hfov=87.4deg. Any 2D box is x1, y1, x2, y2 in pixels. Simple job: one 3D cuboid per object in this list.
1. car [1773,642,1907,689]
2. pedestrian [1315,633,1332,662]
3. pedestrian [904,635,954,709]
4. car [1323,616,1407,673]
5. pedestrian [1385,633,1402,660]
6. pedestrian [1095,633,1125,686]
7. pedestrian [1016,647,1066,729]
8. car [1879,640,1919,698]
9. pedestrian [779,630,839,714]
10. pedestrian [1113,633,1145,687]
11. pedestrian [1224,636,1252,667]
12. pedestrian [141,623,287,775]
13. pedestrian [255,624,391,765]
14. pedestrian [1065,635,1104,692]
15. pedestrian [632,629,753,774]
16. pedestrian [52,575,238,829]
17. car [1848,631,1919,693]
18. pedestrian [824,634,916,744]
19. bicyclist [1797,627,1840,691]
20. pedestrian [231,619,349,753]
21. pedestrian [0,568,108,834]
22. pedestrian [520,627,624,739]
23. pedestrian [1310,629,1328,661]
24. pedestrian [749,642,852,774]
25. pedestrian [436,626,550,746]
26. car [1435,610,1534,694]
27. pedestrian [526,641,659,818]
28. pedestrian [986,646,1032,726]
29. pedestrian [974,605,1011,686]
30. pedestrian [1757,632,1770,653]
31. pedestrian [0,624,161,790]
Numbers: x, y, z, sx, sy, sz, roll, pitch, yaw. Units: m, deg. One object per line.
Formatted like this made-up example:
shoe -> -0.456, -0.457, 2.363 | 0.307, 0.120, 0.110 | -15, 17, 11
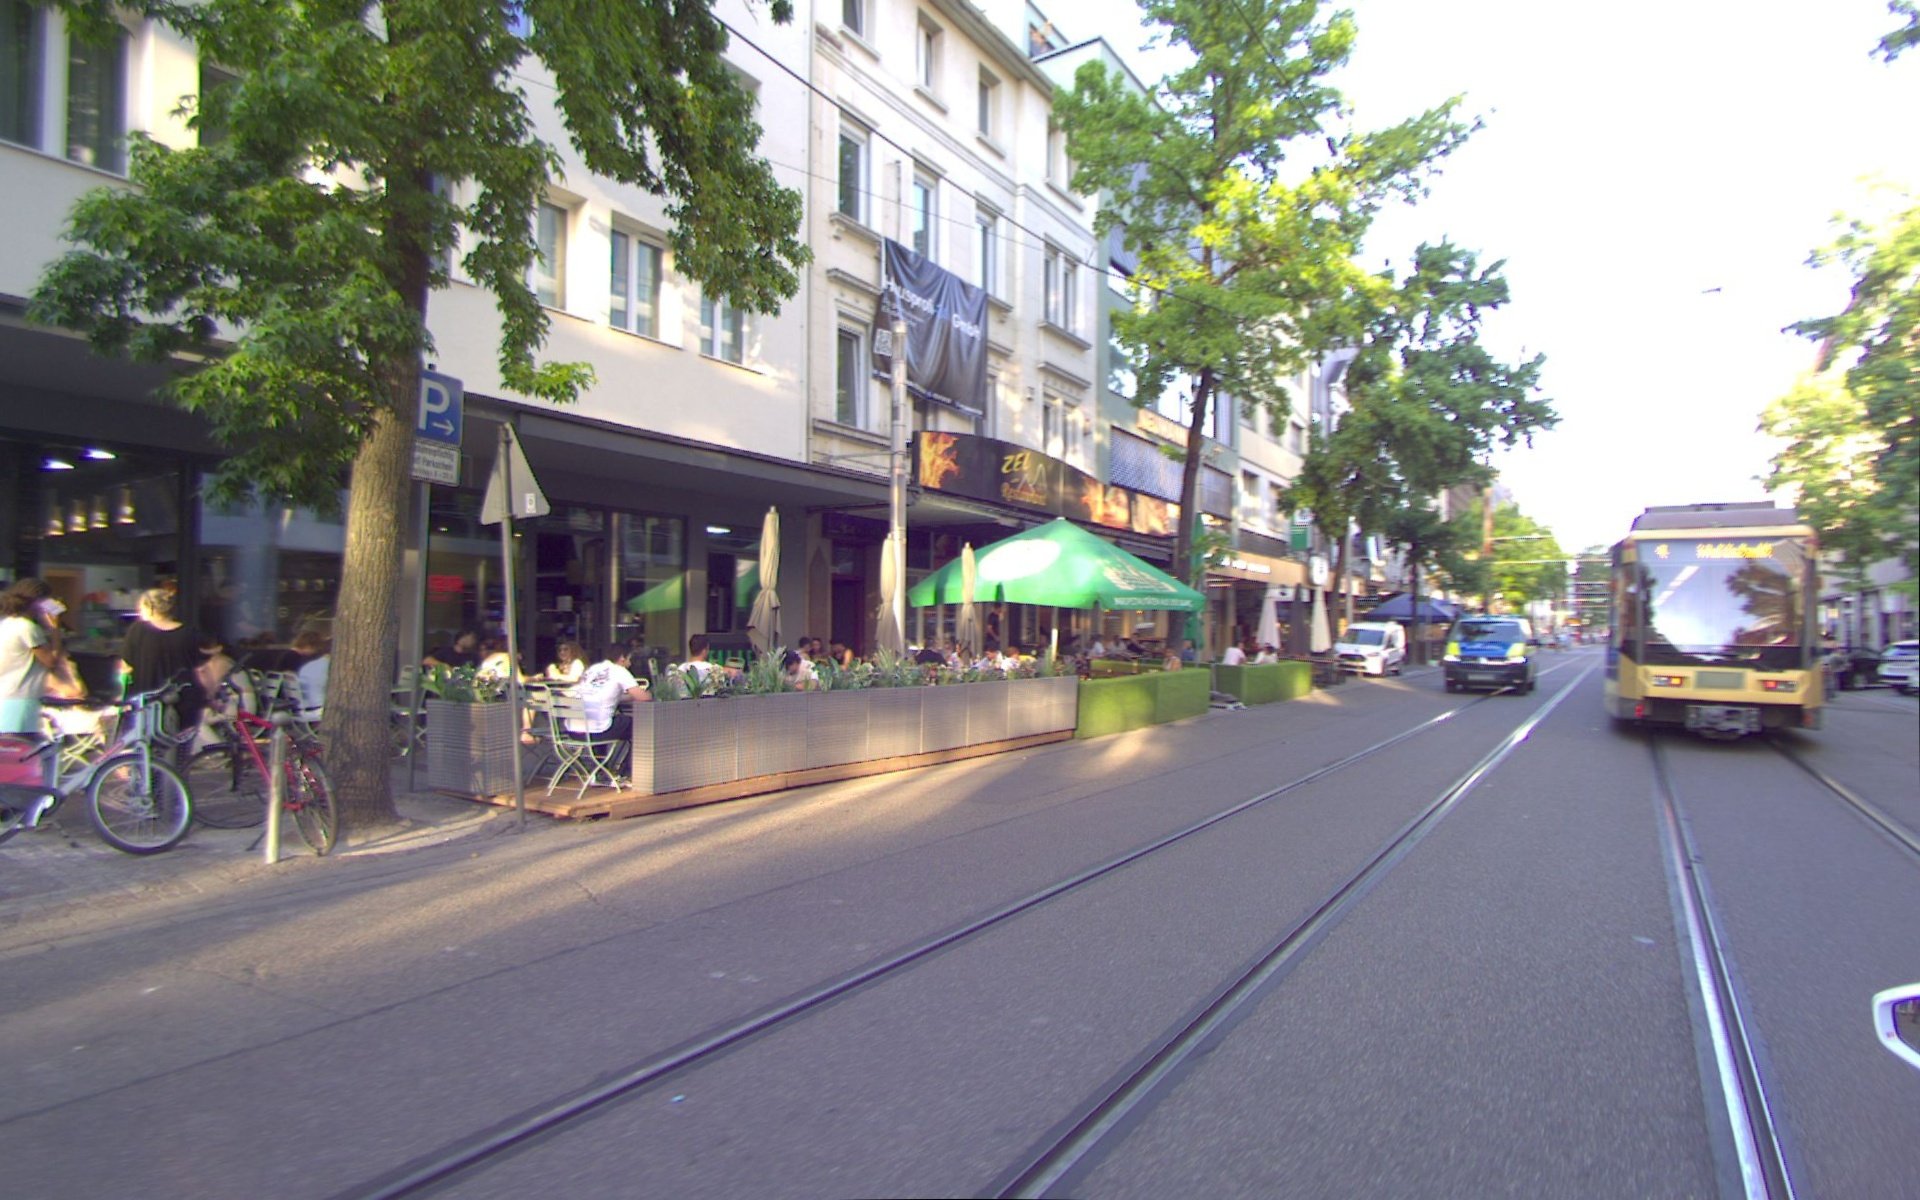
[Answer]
car -> 28.195, 2.059, 32.158 | 4.390, 1.366, 1.794 | 1, -2, -28
pedestrian -> 16.408, 2.153, 45.334 | 0.504, 1.258, 0.659 | 3, 0, 34
pedestrian -> -0.605, 1.407, 19.800 | 0.645, 1.396, 0.763 | 0, -2, 34
car -> 14.406, 1.587, 35.626 | 1.770, 1.842, 4.502 | 1, -2, 35
pedestrian -> 21.428, 2.288, 49.672 | 0.596, 1.273, 0.559 | 3, 0, 35
pedestrian -> 4.006, 1.591, 26.878 | 0.530, 1.396, 0.677 | 0, -2, 34
pedestrian -> 1.273, 1.365, 15.771 | 0.578, 1.252, 0.542 | 0, -2, 36
car -> 26.670, 1.709, 25.796 | 4.100, 1.476, 1.866 | -3, -3, 10
pedestrian -> -2.596, 1.235, 17.318 | 0.645, 1.396, 0.763 | 0, -2, 34
pedestrian -> 4.450, 1.573, 26.425 | 0.597, 1.396, 0.646 | 0, -2, 34
pedestrian -> 10.510, 1.938, 37.955 | 0.767, 1.109, 0.727 | 3, -1, 34
pedestrian -> -7.074, 0.904, 9.541 | 0.837, 1.337, 0.878 | 0, -2, 38
pedestrian -> -6.483, 0.933, 10.236 | 0.874, 1.337, 0.878 | 0, -2, 37
pedestrian -> 3.005, 1.530, 24.269 | 0.645, 1.348, 0.763 | 0, -2, 34
pedestrian -> -2.710, 0.997, 10.204 | 0.706, 1.380, 0.921 | 0, -2, 35
pedestrian -> -5.934, 0.727, 7.357 | 0.767, 1.764, 0.641 | 2, -2, -8
car -> 27.895, 1.667, 28.186 | 4.124, 1.659, 1.922 | -2, -3, 2
pedestrian -> -1.185, 1.156, 13.335 | 0.706, 1.380, 1.008 | 0, -2, 35
bicyclist -> 21.447, 1.469, 25.107 | 0.716, 1.547, 0.731 | 1, -1, 34
pedestrian -> -7.090, 0.887, 10.643 | 0.614, 1.337, 0.839 | 0, -2, 37
pedestrian -> -6.660, 0.676, 7.026 | 0.766, 1.764, 0.642 | 1, -2, 3
pedestrian -> -4.896, 1.027, 12.686 | 0.837, 1.337, 0.878 | 0, -2, 38
pedestrian -> 16.797, 2.087, 47.031 | 0.602, 1.452, 0.510 | 3, 0, 37
pedestrian -> -1.772, 1.166, 11.214 | 0.706, 1.380, 0.869 | 0, -2, 35
pedestrian -> -5.536, 0.991, 11.913 | 0.874, 1.337, 0.878 | 0, -2, 37
car -> 13.957, 1.323, 26.601 | 1.965, 2.002, 4.838 | 0, -2, 32
pedestrian -> -3.119, 1.053, 8.549 | 0.684, 1.395, 0.790 | 0, -2, 35
pedestrian -> 0.784, 1.365, 16.128 | 0.536, 1.234, 0.509 | 0, -2, 36
pedestrian -> 0.735, 1.024, 22.676 | 0.643, 1.789, 0.766 | 1, -2, 15
pedestrian -> 67.594, 3.595, 84.486 | 0.691, 1.706, 0.678 | -3, -2, 34
pedestrian -> -7.714, 0.897, 8.806 | 0.874, 1.337, 0.878 | 0, -2, 37
